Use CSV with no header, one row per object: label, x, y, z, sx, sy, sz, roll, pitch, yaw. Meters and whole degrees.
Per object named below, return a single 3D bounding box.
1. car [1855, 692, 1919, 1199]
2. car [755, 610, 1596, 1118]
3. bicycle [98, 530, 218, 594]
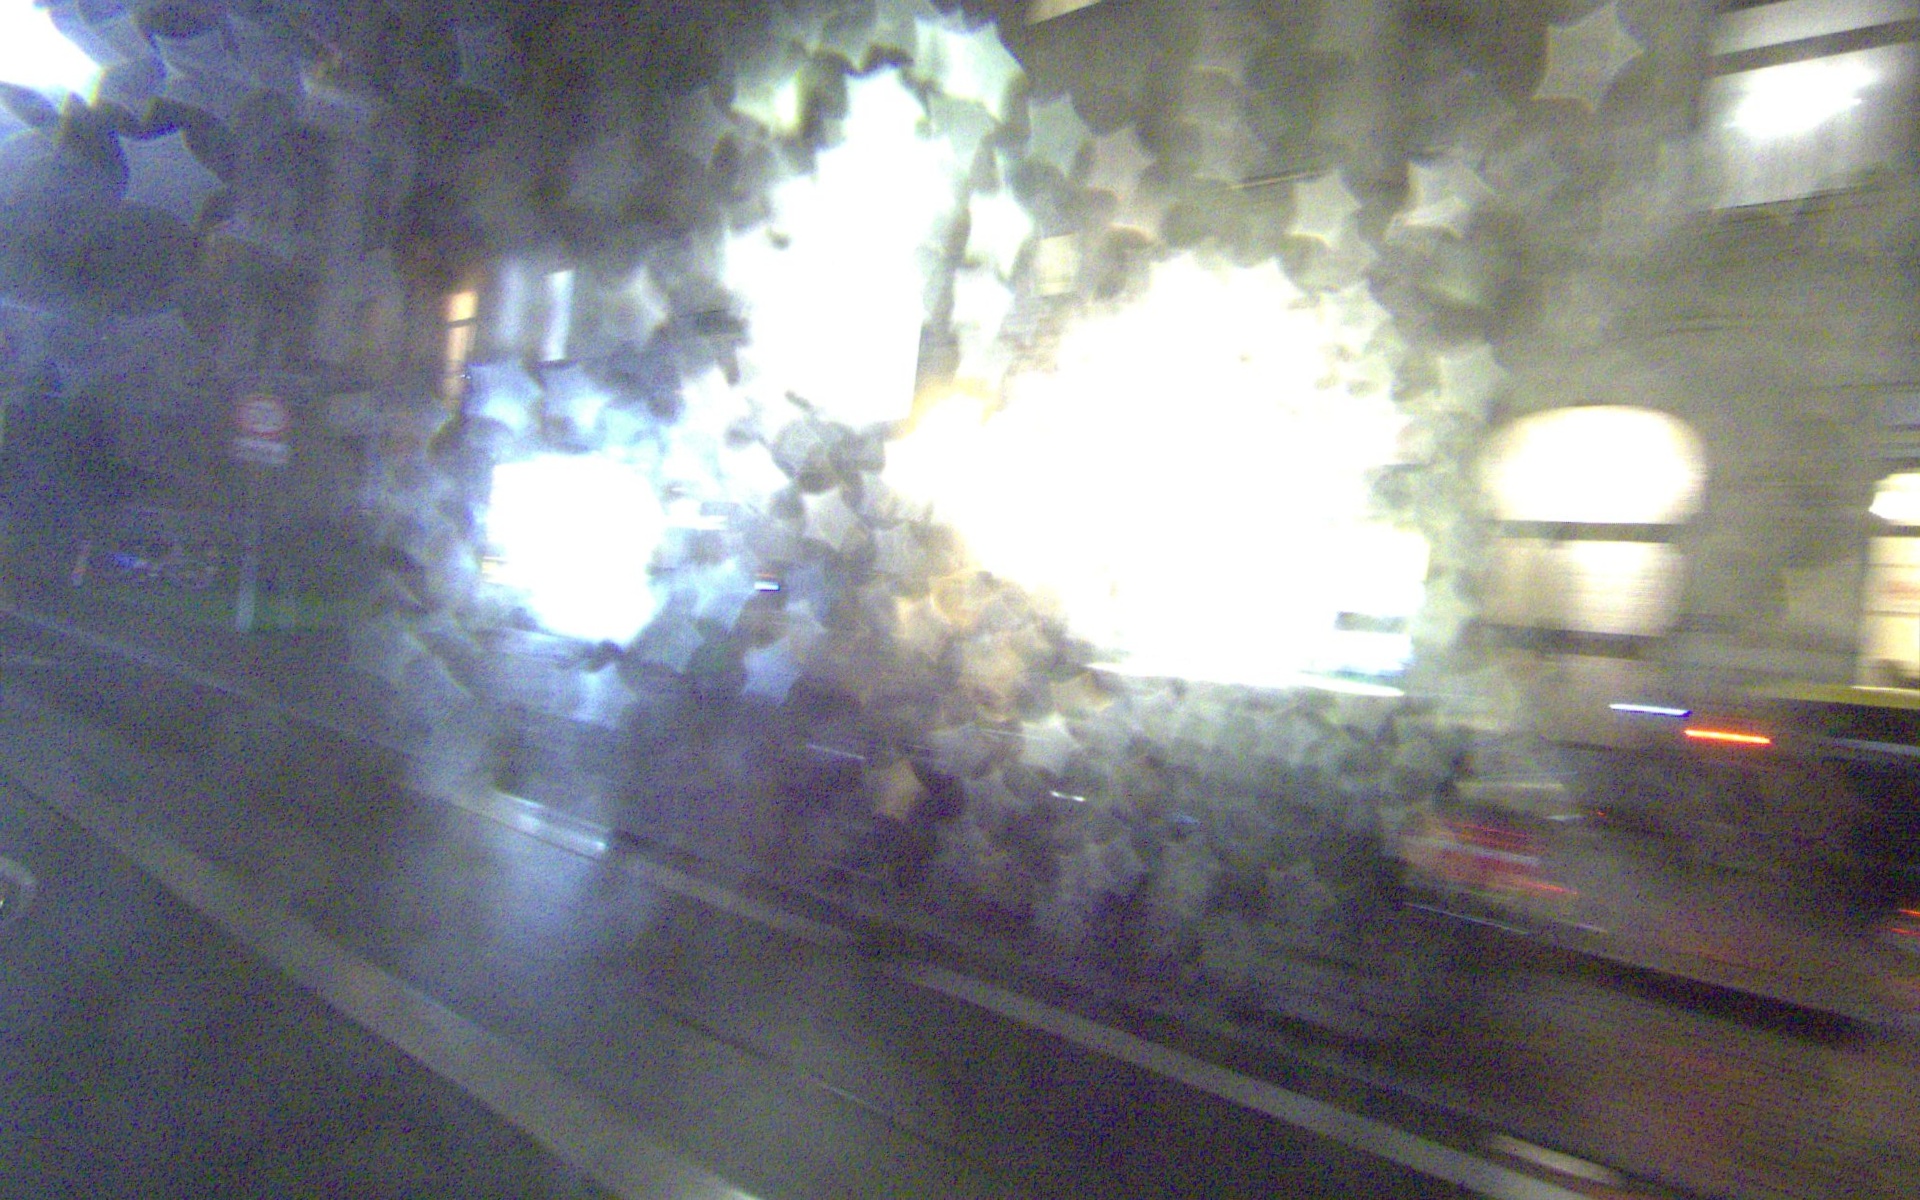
car,4.705,1.277,2.424,3.525,1.546,1.644,6,4,36
car,0.903,0.949,5.365,3.994,1.462,1.642,6,4,37
bicycle,-16.130,-0.753,20.275,0.485,1.179,1.811,5,2,35
